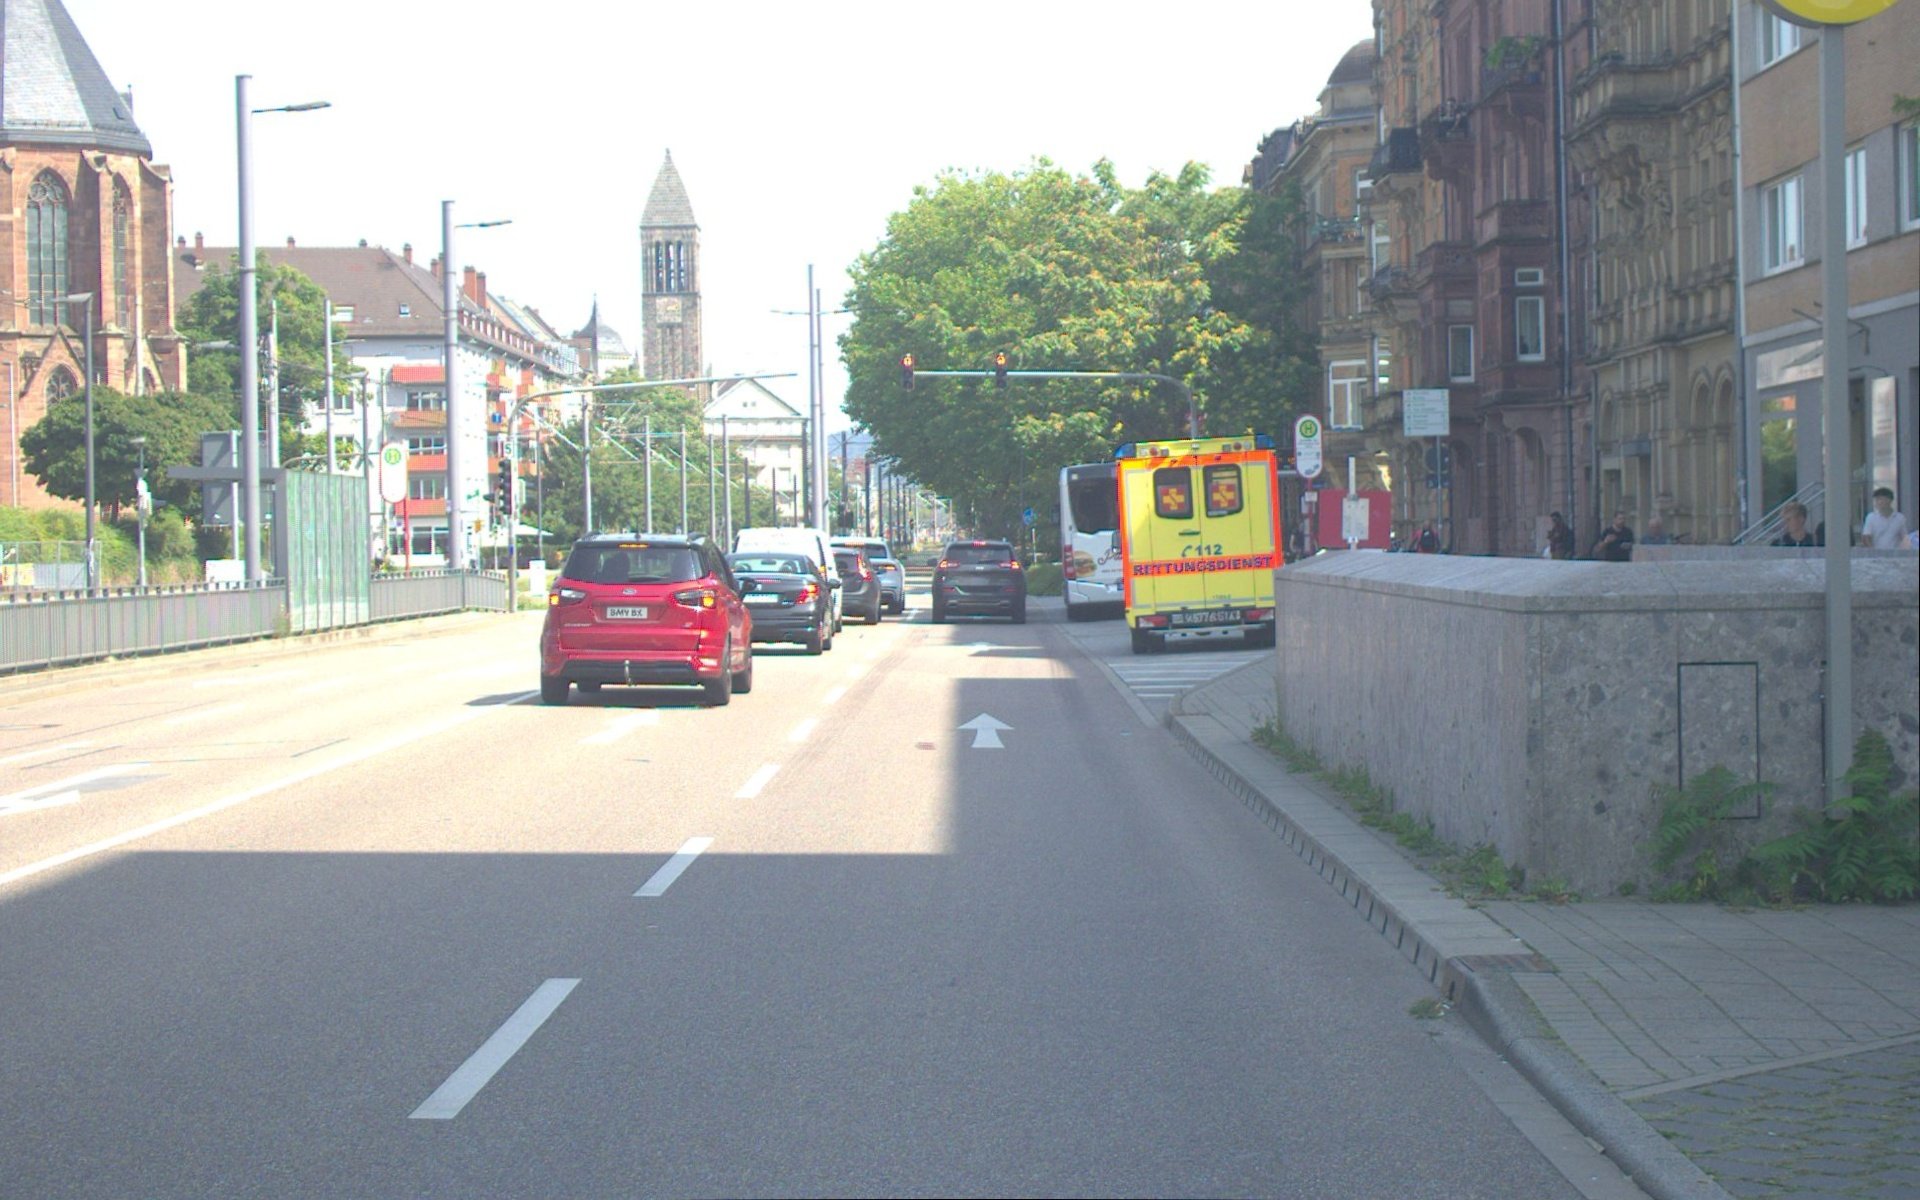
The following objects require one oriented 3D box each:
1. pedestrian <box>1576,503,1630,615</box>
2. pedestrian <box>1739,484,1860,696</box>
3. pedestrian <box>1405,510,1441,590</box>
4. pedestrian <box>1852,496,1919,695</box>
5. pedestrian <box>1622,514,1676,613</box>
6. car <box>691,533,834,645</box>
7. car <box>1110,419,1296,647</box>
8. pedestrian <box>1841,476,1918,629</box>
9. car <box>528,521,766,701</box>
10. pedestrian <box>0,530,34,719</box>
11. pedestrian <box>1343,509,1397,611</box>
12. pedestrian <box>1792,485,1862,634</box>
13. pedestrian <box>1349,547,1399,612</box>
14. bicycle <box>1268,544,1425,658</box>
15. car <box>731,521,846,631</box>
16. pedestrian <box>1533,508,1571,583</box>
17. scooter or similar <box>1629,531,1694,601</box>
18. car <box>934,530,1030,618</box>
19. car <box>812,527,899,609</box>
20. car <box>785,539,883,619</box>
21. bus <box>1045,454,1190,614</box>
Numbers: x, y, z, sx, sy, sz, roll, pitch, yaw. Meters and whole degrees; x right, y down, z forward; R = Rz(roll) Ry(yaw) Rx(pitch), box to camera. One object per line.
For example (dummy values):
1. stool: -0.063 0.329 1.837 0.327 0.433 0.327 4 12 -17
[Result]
1. pedestrian: 9.789 -0.626 52.364 0.643 1.679 0.789 -1 1 0
2. pedestrian: 7.149 -0.098 29.316 0.850 1.723 0.971 -2 3 7
3. pedestrian: 9.798 -1.059 72.770 0.697 1.661 0.603 -1 1 3
4. pedestrian: 7.866 -0.045 27.686 0.850 1.576 0.971 -2 1 -33
5. pedestrian: 10.494 -0.557 52.358 0.643 1.488 0.789 -1 1 0
6. car: -2.669 -0.188 47.298 1.790 1.426 4.000 -1 1 -1
7. car: 3.358 -0.943 47.398 2.299 2.878 5.598 -2 1 4
8. pedestrian: 11.061 -0.578 41.369 0.599 1.789 0.880 -3 1 0
9. car: -2.981 0.057 33.507 1.762 1.612 4.082 -1 1 2
10. pedestrian: -9.246 0.230 31.894 0.761 1.746 1.068 -1 0 20
11. pedestrian: 6.786 -0.662 56.883 0.698 1.661 0.602 0 1 27
12. pedestrian: 10.433 -0.489 41.374 0.577 1.744 0.679 -3 1 0
13. pedestrian: 11.790 -0.598 98.041 1.249 1.745 1.526 -1 3 1
14. bicycle: 4.191 0.008 37.353 1.674 1.211 0.644 0 1 6
15. car: -2.876 -0.403 58.323 1.790 1.774 4.000 -1 0 -1
16. pedestrian: 12.850 -1.183 74.585 0.622 1.587 0.696 -1 1 -5
17. scooter or similar: 12.232 -0.596 59.991 0.512 1.192 1.305 -1 1 -19
18. car: 0.412 -0.509 68.002 1.790 1.672 4.000 -1 0 -1
19. car: -2.231 -0.685 74.216 1.790 1.692 4.000 -1 0 -1
20. car: -2.406 -0.401 66.515 1.790 1.467 4.000 -1 0 -1
21. bus: 3.184 -1.390 72.324 2.534 3.021 12.436 -1 1 1
